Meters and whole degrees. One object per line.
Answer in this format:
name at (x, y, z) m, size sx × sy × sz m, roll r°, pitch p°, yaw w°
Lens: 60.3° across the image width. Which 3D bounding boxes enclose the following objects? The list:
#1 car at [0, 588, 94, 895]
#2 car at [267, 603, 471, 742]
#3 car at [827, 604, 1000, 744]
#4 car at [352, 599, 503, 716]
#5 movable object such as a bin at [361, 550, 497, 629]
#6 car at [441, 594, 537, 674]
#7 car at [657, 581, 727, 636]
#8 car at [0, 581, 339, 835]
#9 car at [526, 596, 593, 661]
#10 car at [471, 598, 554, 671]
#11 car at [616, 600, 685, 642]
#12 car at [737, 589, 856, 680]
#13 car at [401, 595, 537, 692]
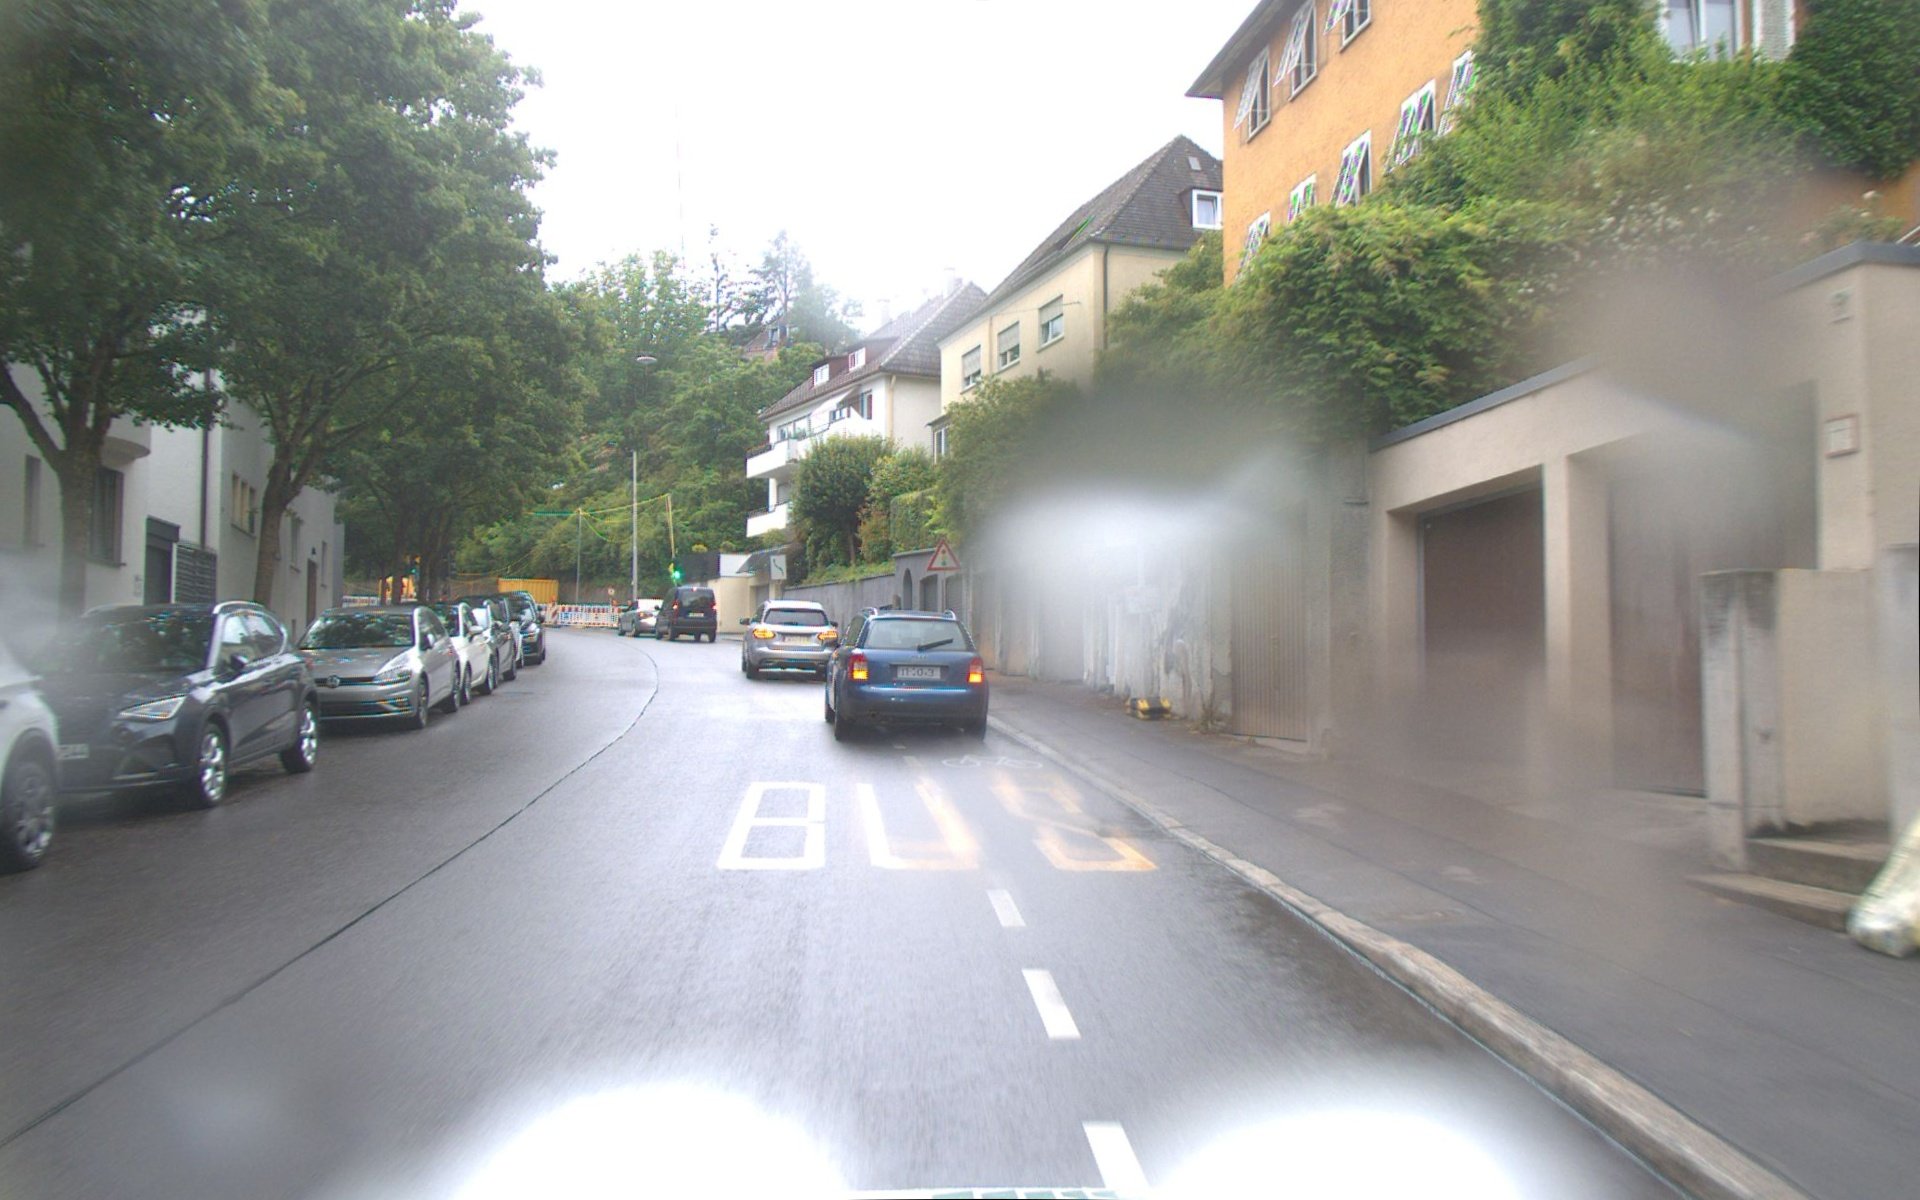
car at (-6.016, 0.838, 8.191) m, size 1.562 × 1.687 × 3.919 m, roll -5°, pitch 0°, yaw -5°
car at (-7.342, 0.851, 20.906) m, size 1.588 × 1.496 × 3.964 m, roll -3°, pitch 0°, yaw -8°
car at (-0.649, 0.794, 19.575) m, size 1.751 × 1.467 × 3.958 m, roll 0°, pitch 0°, yaw -6°
car at (-7.913, 0.797, 24.845) m, size 1.545 × 1.514 × 3.463 m, roll -3°, pitch 1°, yaw -9°
movable object such as a bin at (-28.650, -0.614, 89.166) m, size 7.166 × 4.084 × 2.823 m, roll 1°, pitch 0°, yaw 30°
car at (-9.860, 0.698, 34.812) m, size 1.527 × 1.537 × 3.375 m, roll -3°, pitch 0°, yaw -10°
car at (-9.387, 0.288, 57.728) m, size 1.961 × 1.825 × 3.982 m, roll -1°, pitch 0°, yaw -16°
car at (-6.483, 0.782, 13.589) m, size 1.587 × 1.687 × 3.918 m, roll -4°, pitch 0°, yaw -7°
car at (-10.479, 0.738, 43.380) m, size 1.605 × 1.592 × 3.835 m, roll -2°, pitch 0°, yaw -13°
car at (-10.369, 0.777, 38.523) m, size 1.528 × 1.514 × 4.086 m, roll -3°, pitch 0°, yaw -11°
car at (-11.829, 0.761, 63.026) m, size 1.698 × 1.512 × 4.046 m, roll -1°, pitch 0°, yaw -24°
car at (-3.291, 0.626, 32.602) m, size 1.892 × 1.646 × 4.308 m, roll 1°, pitch 0°, yaw -12°
car at (-8.750, 0.748, 29.786) m, size 1.633 × 1.514 × 4.466 m, roll -3°, pitch 0°, yaw -8°
